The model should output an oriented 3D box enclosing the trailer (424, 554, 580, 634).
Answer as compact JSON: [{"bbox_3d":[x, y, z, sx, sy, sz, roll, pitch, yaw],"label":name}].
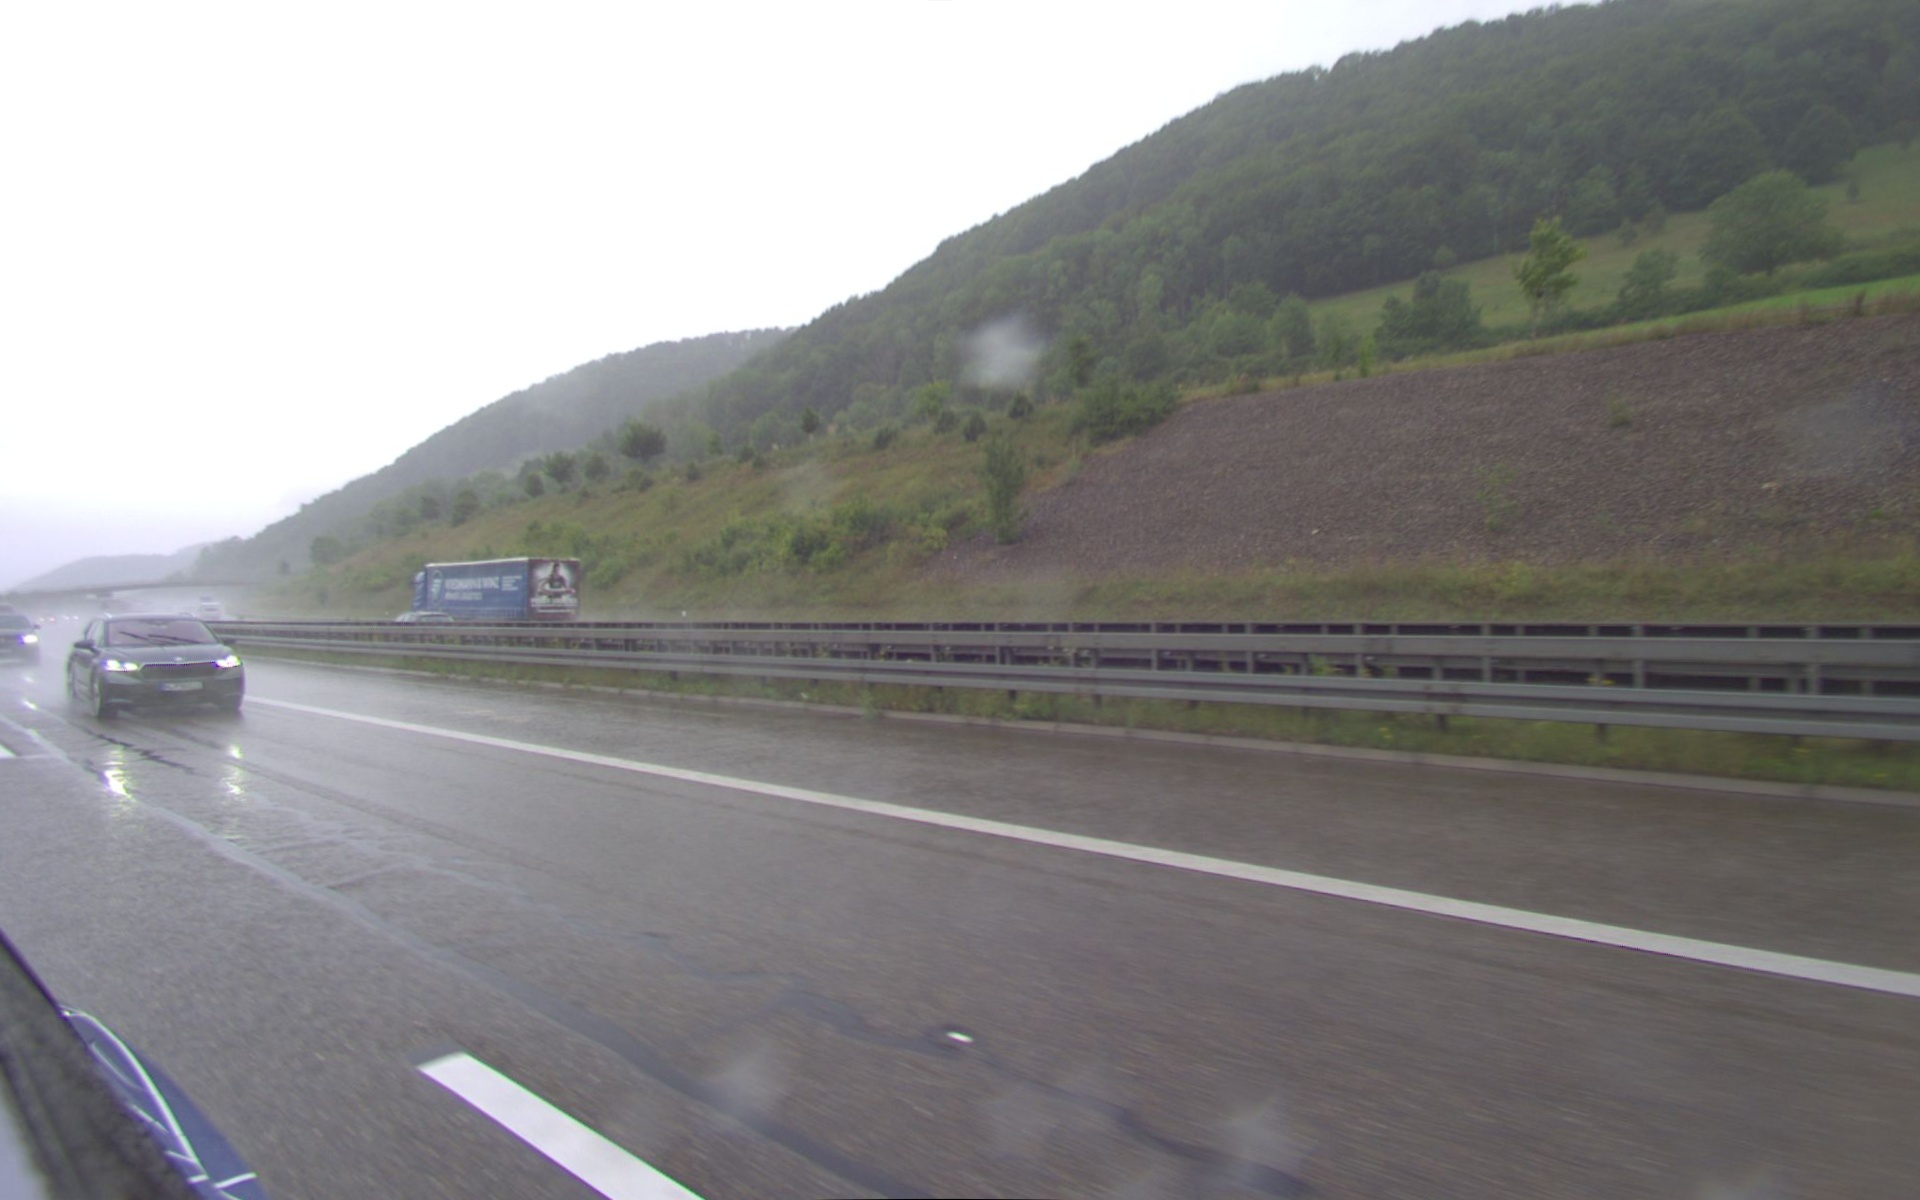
[{"bbox_3d":[-24.070,-0.199,52.554,13.251,3.709,2.781,-1,-1,44],"label":"trailer"}]

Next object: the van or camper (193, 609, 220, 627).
[{"bbox_3d":[-111.992,2.683,150.347,2.317,2.583,7.212,-1,0,-43],"label":"van or camper"}]

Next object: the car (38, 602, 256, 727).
[{"bbox_3d":[-13.556,0.935,16.751,4.907,1.695,1.973,-1,2,41],"label":"car"}]

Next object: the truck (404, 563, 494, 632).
[{"bbox_3d":[-29.096,-0.105,57.489,6.210,3.711,2.749,-1,-1,45],"label":"truck"}]

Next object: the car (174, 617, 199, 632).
[{"bbox_3d":[-98.271,3.115,128.532,1.971,1.874,4.002,-1,0,-45],"label":"car"}]

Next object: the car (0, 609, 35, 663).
[{"bbox_3d":[-32.132,1.191,33.807,1.788,1.715,3.753,-2,1,-43],"label":"car"}]
